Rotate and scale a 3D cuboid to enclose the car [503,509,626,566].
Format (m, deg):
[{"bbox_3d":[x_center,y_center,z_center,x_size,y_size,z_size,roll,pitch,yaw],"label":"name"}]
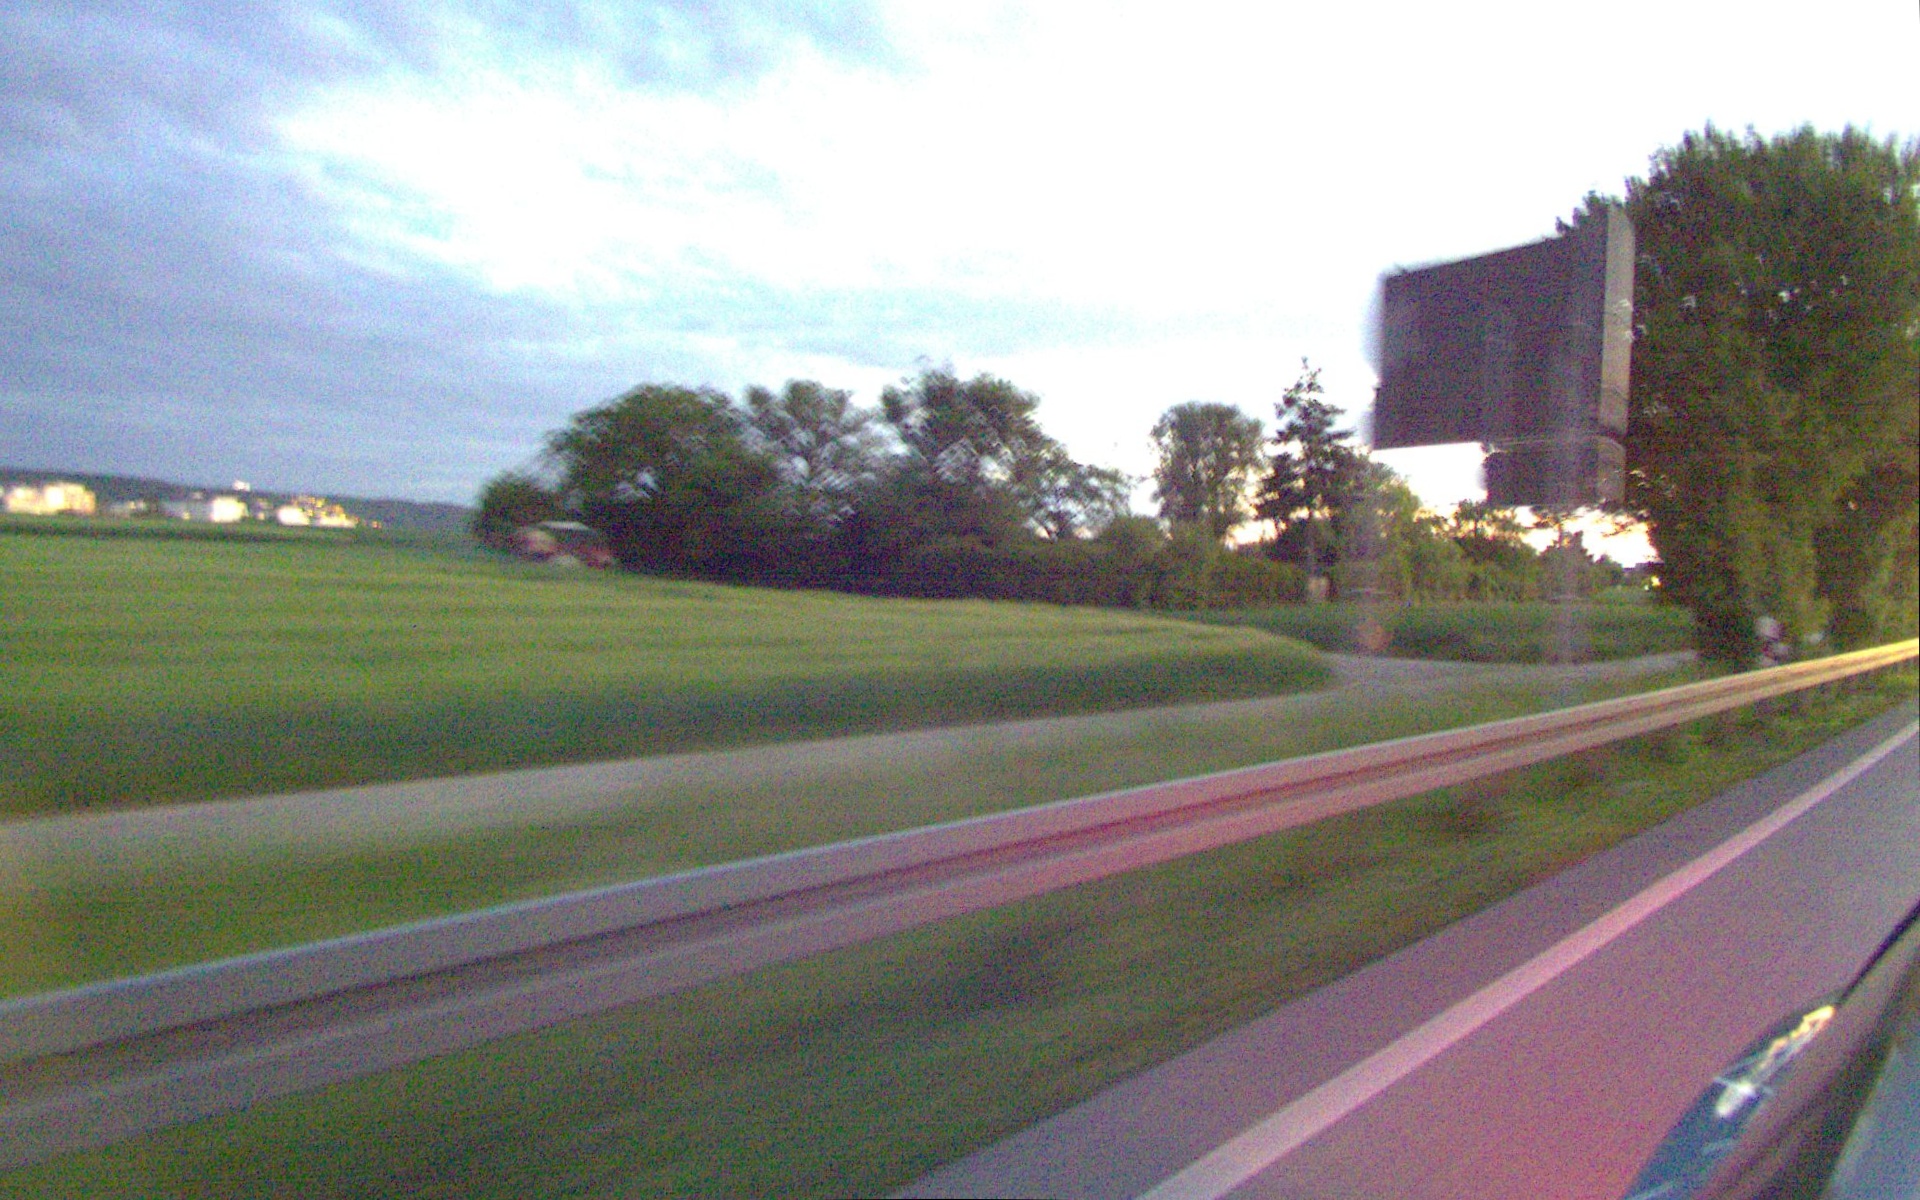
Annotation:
[{"bbox_3d":[-16.751,-2.631,43.063,1.989,2.178,4.519,4,3,37],"label":"car"}]
